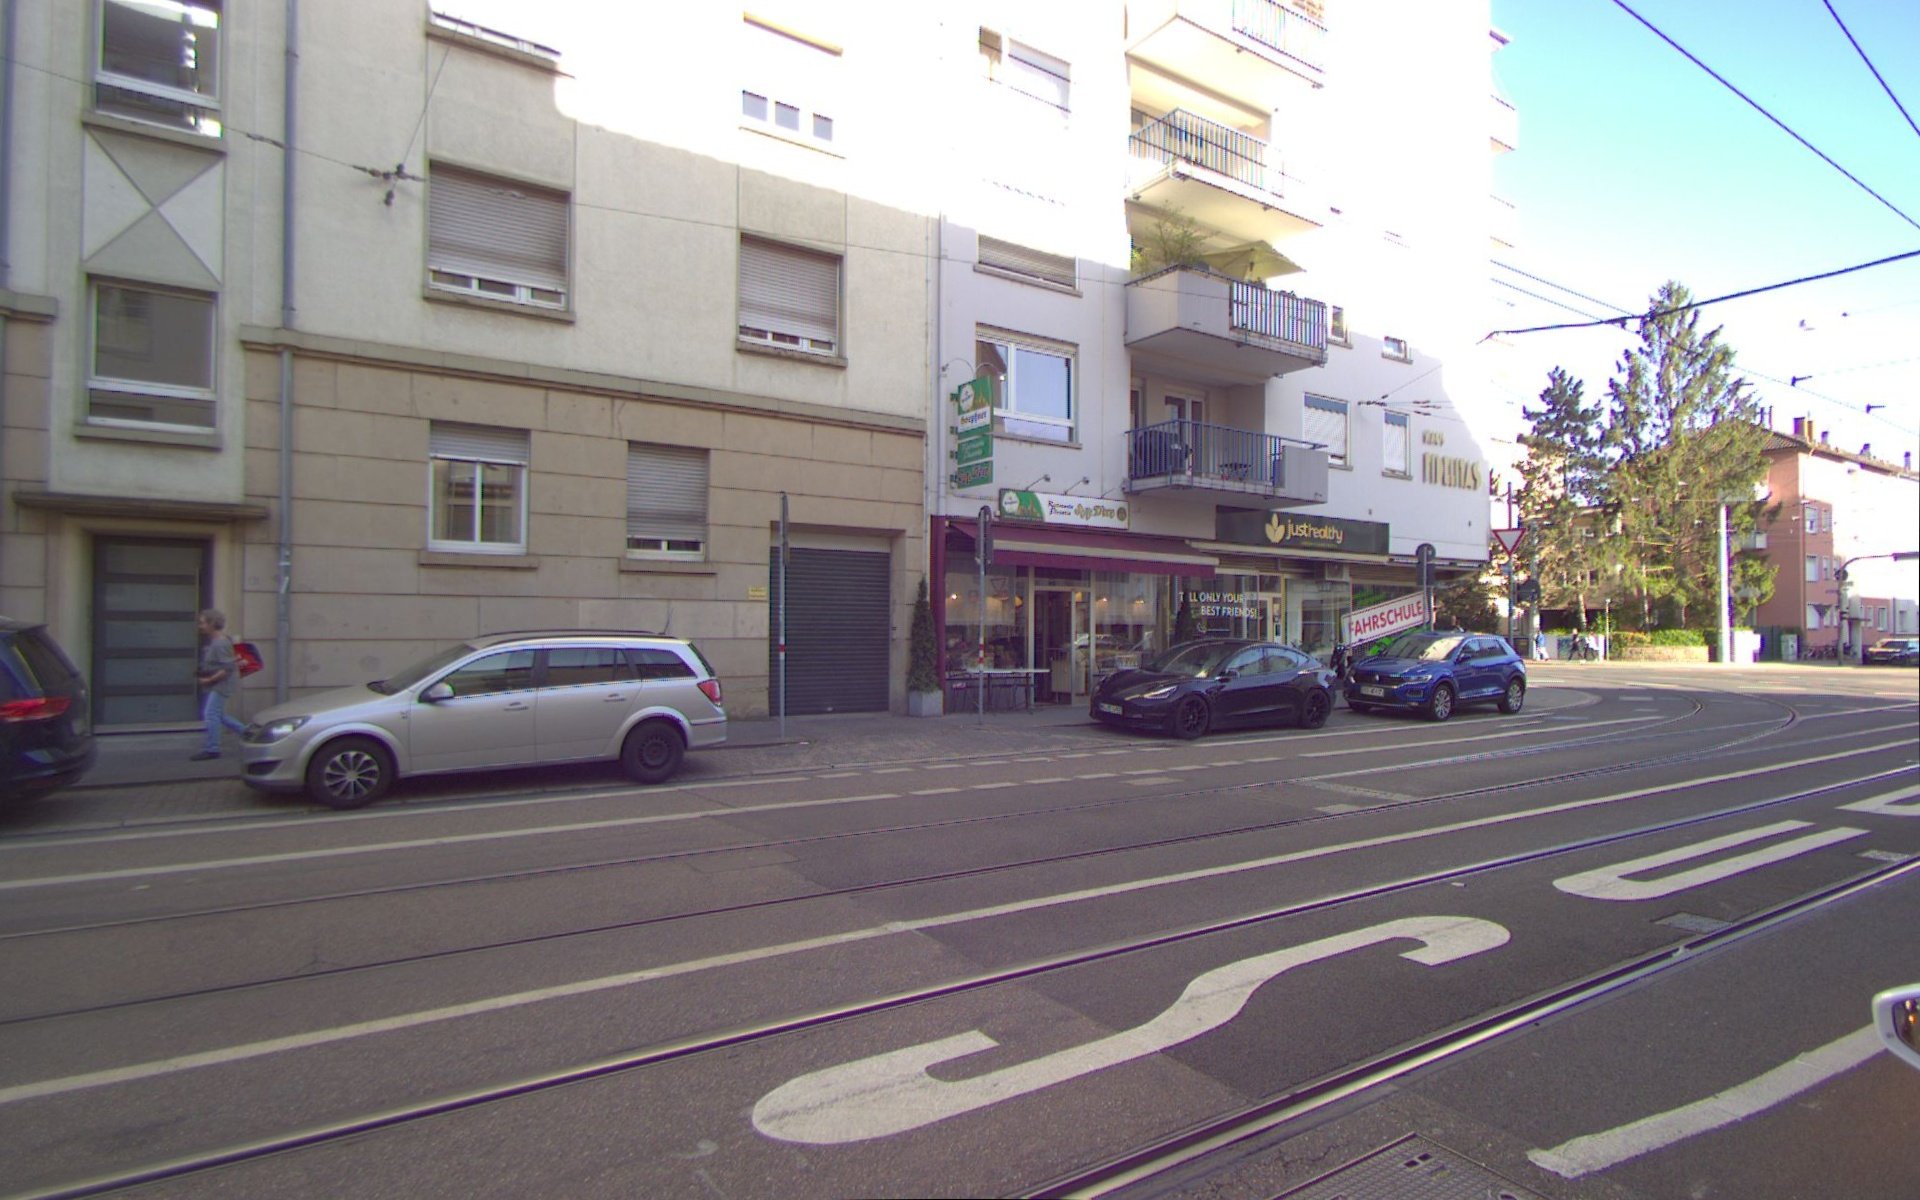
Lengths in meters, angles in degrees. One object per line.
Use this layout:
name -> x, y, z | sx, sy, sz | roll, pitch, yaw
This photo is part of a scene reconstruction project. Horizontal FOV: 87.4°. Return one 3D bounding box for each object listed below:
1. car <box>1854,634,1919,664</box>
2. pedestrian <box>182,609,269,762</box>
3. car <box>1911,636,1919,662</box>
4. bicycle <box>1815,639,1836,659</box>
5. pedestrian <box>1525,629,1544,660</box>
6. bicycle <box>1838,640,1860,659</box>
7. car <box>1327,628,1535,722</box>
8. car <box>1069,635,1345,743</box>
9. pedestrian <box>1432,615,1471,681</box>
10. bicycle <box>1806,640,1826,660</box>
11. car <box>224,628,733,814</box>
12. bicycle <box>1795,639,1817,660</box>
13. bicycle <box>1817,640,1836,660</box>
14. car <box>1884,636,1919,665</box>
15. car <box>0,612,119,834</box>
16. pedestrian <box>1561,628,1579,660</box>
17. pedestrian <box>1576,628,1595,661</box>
car -> 49.721, 2.616, 53.780 | 3.961, 1.539, 1.938 | 1, -2, -36
pedestrian -> -7.838, 0.891, 10.752 | 0.686, 1.562, 0.565 | 1, -2, -32
car -> 58.124, 2.897, 59.449 | 3.961, 1.539, 1.938 | 1, -2, -36
bicycle -> 50.737, 2.860, 58.878 | 1.892, 1.097, 0.533 | 1, -2, -37
pedestrian -> 32.399, 2.510, 56.670 | 0.800, 1.725, 0.676 | -1, -2, 44
bicycle -> 53.153, 2.938, 60.023 | 1.892, 1.097, 0.605 | 1, -2, -37
car -> 8.989, 1.348, 19.078 | 4.072, 1.525, 1.714 | 1, 1, -34
car -> 4.010, 1.318, 16.035 | 4.442, 1.422, 1.714 | 1, 1, -34
pedestrian -> 14.008, 1.354, 28.666 | 0.707, 1.859, 0.771 | 0, -1, -3
bicycle -> 47.174, 2.735, 55.337 | 1.895, 1.097, 0.532 | 2, -2, -41
car -> -4.708, 1.052, 10.207 | 4.343, 1.497, 1.785 | 1, -1, -34
bicycle -> 46.879, 2.725, 55.629 | 1.895, 1.097, 0.634 | 2, -2, -41
bicycle -> 47.602, 2.747, 55.162 | 1.895, 1.097, 0.532 | 2, -2, -41
car -> 54.270, 2.840, 57.010 | 4.006, 1.539, 1.938 | 1, -2, -36
car -> -8.996, 0.883, 7.184 | 4.343, 1.620, 1.785 | 1, -1, -34
pedestrian -> 33.064, 2.367, 54.438 | 0.798, 1.725, 0.632 | -1, -2, 37
pedestrian -> 33.116, 2.350, 53.217 | 0.798, 1.725, 0.604 | -1, -2, 37
